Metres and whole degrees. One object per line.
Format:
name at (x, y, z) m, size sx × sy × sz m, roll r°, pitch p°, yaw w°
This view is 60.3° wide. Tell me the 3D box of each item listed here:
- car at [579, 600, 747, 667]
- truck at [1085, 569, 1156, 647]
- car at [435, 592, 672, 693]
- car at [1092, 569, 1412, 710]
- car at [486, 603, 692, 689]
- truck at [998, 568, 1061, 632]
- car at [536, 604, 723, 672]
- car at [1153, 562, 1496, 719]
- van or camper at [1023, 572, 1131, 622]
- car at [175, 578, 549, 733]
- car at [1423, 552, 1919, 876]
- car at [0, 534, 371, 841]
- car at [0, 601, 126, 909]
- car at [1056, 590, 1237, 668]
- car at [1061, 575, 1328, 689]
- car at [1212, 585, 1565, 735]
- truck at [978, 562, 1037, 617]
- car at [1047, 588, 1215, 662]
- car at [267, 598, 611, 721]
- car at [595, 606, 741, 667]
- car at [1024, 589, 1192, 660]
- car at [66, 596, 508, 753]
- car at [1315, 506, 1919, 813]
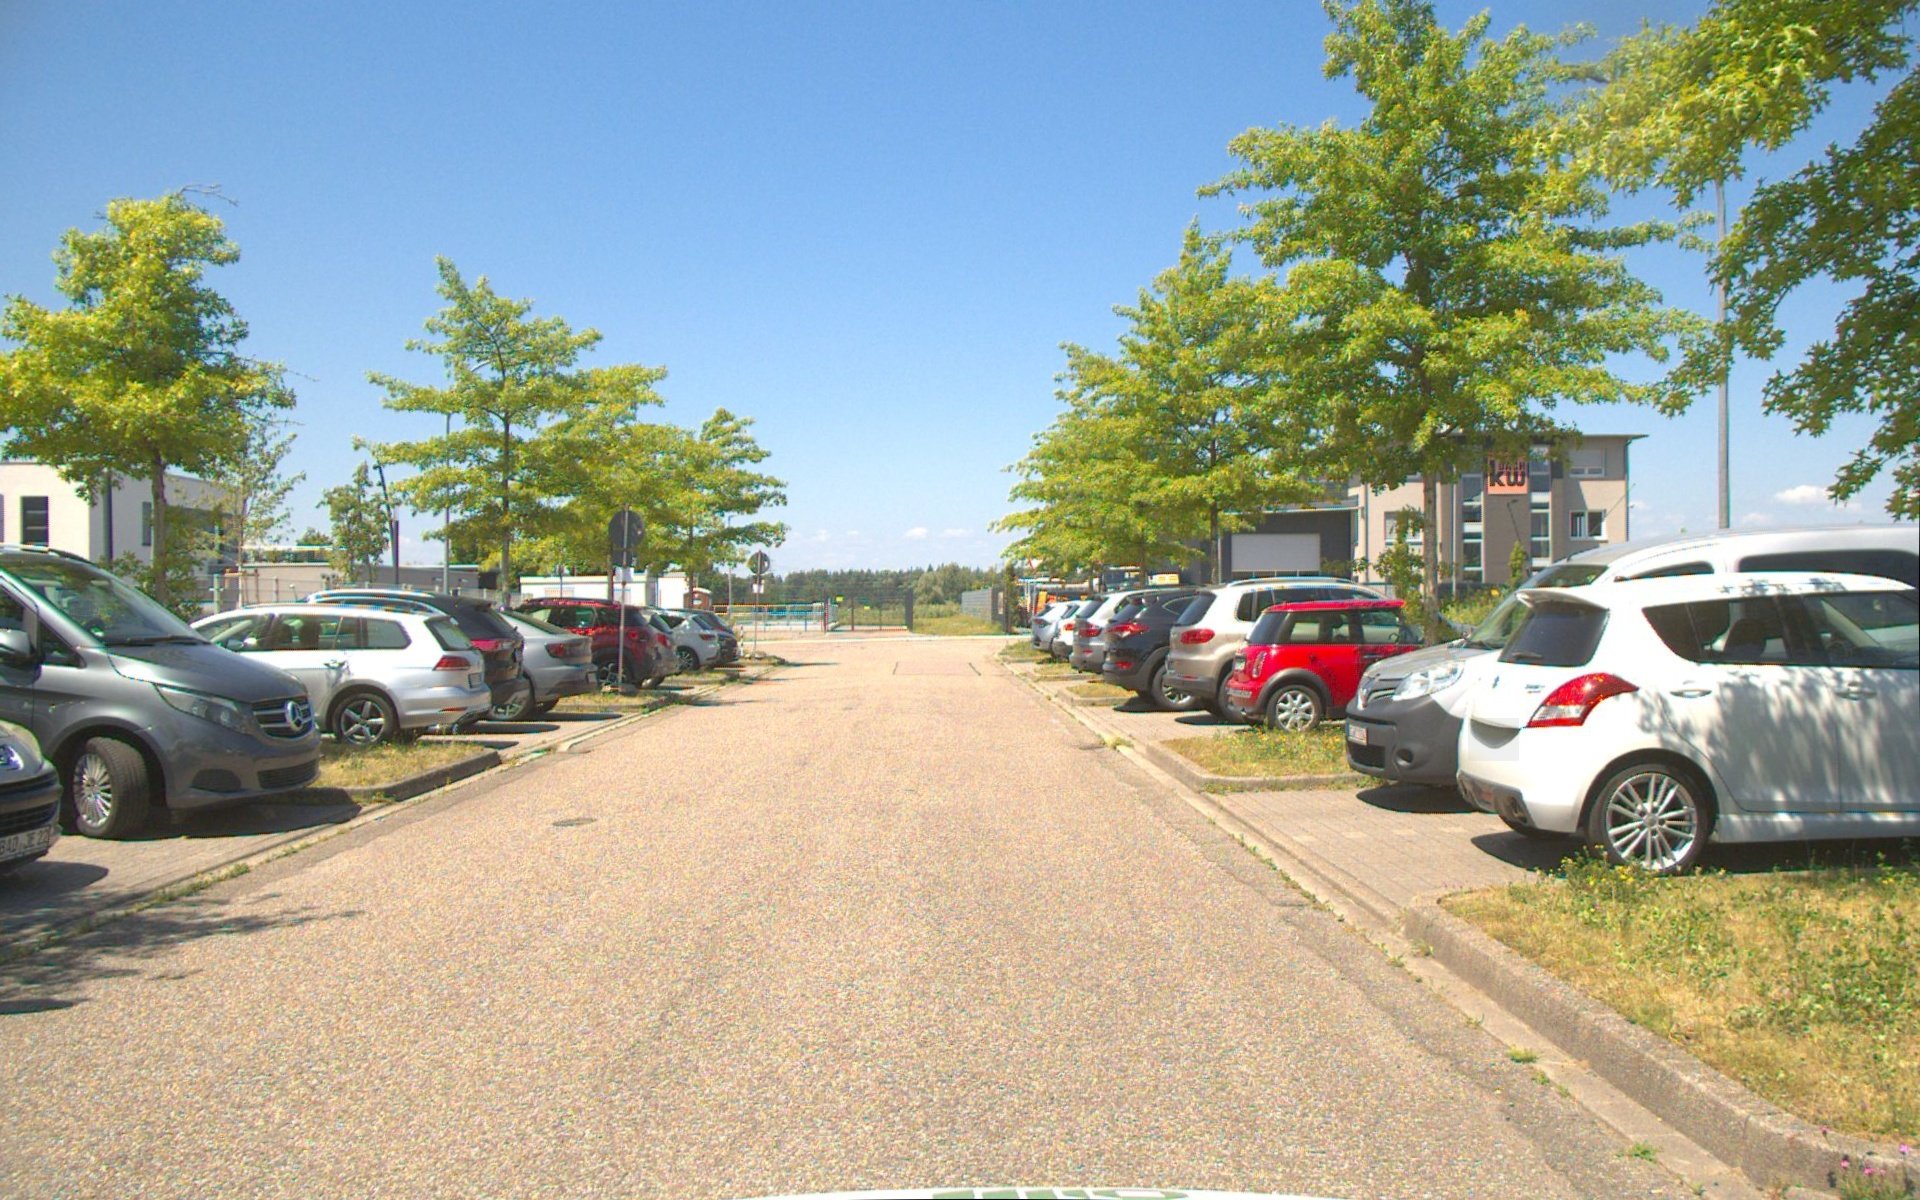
car at (-7.263, 0.817, 40.749) m, size 3.850 × 1.547 × 1.783 m, roll 1°, pitch -1°, yaw -4°
truck at (8.614, 0.426, 89.314) m, size 2.862 × 3.998 × 6.932 m, roll -1°, pitch 0°, yaw -2°
car at (-7.029, 0.722, 28.854) m, size 3.661 × 1.650 × 1.816 m, roll 1°, pitch 0°, yaw -1°
car at (4.016, 0.532, 23.191) m, size 4.090 × 1.726 × 1.781 m, roll -2°, pitch 0°, yaw -3°
car at (-7.001, 0.866, 31.469) m, size 3.585 × 1.535 × 1.729 m, roll 1°, pitch 0°, yaw -5°
truck at (3.528, -0.001, 85.714) m, size 2.672 × 3.115 × 6.932 m, roll -1°, pitch 0°, yaw -2°
car at (-7.571, 0.866, 38.215) m, size 3.996 × 1.449 × 1.872 m, roll 1°, pitch -1°, yaw -5°
car at (4.427, 0.484, 20.496) m, size 3.797 × 1.707 × 1.782 m, roll -2°, pitch 0°, yaw -1°
van or camper at (5.442, -0.165, 77.180) m, size 4.837 × 2.201 × 1.999 m, roll -1°, pitch 1°, yaw -2°
car at (-7.153, 0.659, 20.140) m, size 3.910 × 1.708 × 1.775 m, roll 2°, pitch 0°, yaw -7°
car at (4.588, 0.538, 9.095) m, size 3.557 × 1.529 × 1.676 m, roll -2°, pitch 0°, yaw -1°
car at (-6.943, 0.530, 11.464) m, size 4.966 × 1.925 × 1.997 m, roll 1°, pitch 0°, yaw 0°
car at (-6.701, 0.725, 8.492) m, size 3.888 × 1.510 × 1.763 m, roll 2°, pitch 0°, yaw -1°
car at (4.324, 0.686, 38.789) m, size 3.985 × 1.636 × 1.901 m, roll -2°, pitch -1°, yaw -1°
car at (4.119, 0.544, 29.505) m, size 4.361 × 1.799 × 1.991 m, roll -2°, pitch 0°, yaw -4°
car at (4.649, 0.632, 18.277) m, size 3.388 × 1.441 × 1.754 m, roll -2°, pitch 0°, yaw -2°
truck at (2.622, -0.566, 94.143) m, size 2.862 × 2.989 × 6.932 m, roll -1°, pitch 0°, yaw -2°
car at (4.237, 0.609, 41.353) m, size 3.907 × 1.673 × 1.837 m, roll -2°, pitch 0°, yaw -2°
car at (-7.000, 0.783, 22.526) m, size 4.108 × 1.506 × 1.712 m, roll 2°, pitch 0°, yaw -1°
car at (-7.551, 0.934, 43.006) m, size 3.554 × 1.461 × 1.725 m, roll 1°, pitch -1°, yaw -4°
car at (3.877, 0.643, 43.780) m, size 4.193 × 1.673 × 1.850 m, roll -2°, pitch 0°, yaw -2°
car at (-6.960, 0.762, 17.426) m, size 3.958 × 1.486 × 1.603 m, roll 2°, pitch 0°, yaw -5°
car at (4.901, 0.379, 11.756) m, size 4.313 × 1.862 × 1.795 m, roll -2°, pitch 0°, yaw -1°
